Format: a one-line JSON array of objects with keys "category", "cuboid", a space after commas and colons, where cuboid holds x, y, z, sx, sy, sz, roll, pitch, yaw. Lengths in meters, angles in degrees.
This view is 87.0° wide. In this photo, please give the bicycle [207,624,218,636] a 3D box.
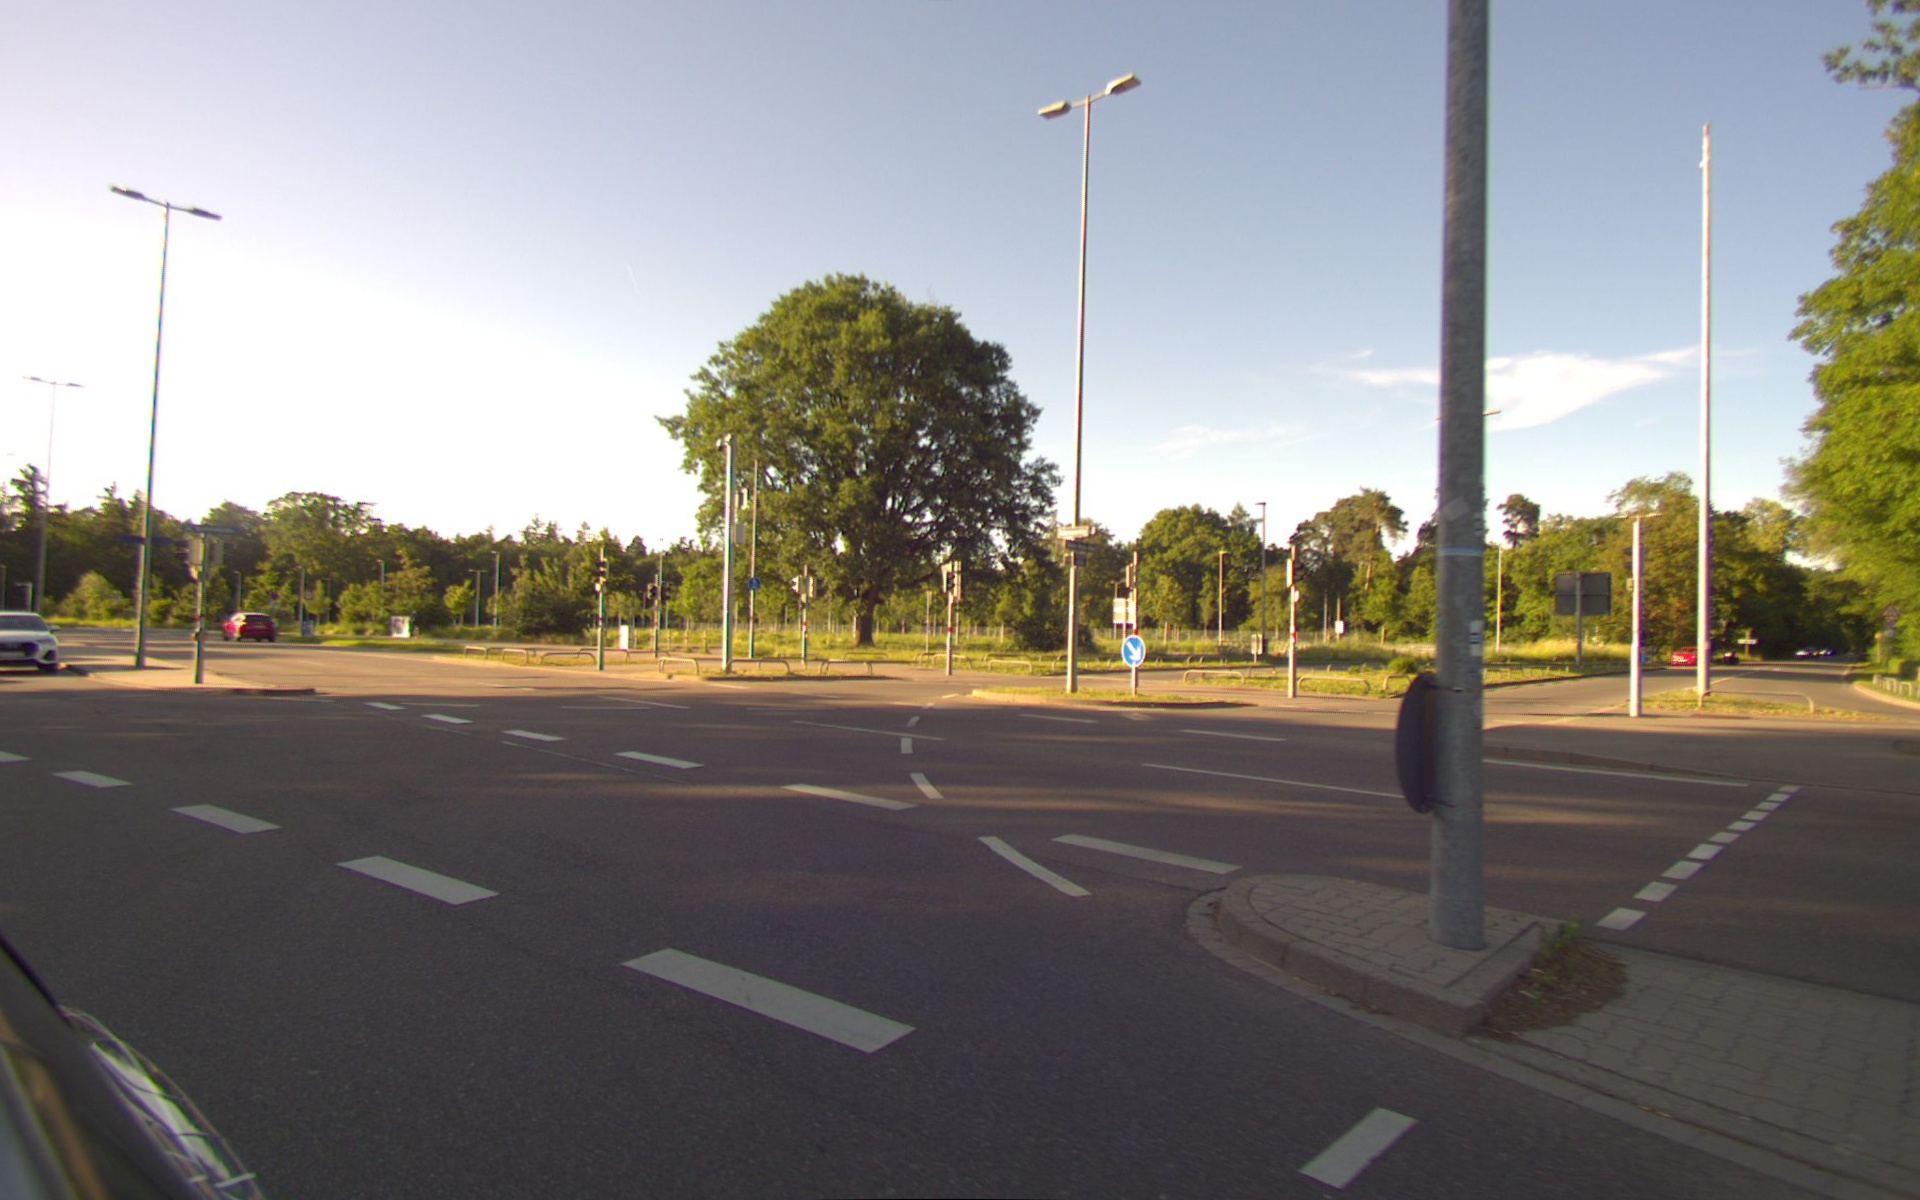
[{"category": "bicycle", "cuboid": [-65.780, 2.614, 89.043, 1.362, 1.027, 0.576, -1, -1, 44]}]

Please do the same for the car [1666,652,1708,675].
[{"category": "car", "cuboid": [53.404, 4.639, 74.353, 3.938, 1.521, 1.659, 1, -1, -41]}]

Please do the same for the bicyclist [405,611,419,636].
[{"category": "bicyclist", "cuboid": [-35.400, 1.522, 65.361, 0.672, 1.623, 0.801, 1, -1, -39]}]

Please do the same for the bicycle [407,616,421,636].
[{"category": "bicycle", "cuboid": [-35.340, 1.692, 65.493, 0.487, 1.247, 1.798, 1, -1, -40]}]

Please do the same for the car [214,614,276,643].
[{"category": "car", "cuboid": [-40.401, 1.560, 57.173, 4.571, 1.565, 1.866, 0, -1, 41]}]

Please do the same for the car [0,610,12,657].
[{"category": "car", "cuboid": [-34.292, 1.137, 35.062, 4.320, 1.595, 1.773, -1, -2, 42]}]

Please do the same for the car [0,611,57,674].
[{"category": "car", "cuboid": [-24.553, 1.046, 25.882, 4.301, 1.524, 1.813, -1, -2, 44]}]

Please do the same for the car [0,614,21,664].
[{"category": "car", "cuboid": [-29.388, 1.131, 30.257, 4.319, 1.438, 1.639, -1, -2, 44]}]

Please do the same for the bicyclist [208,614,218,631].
[{"category": "bicyclist", "cuboid": [-65.697, 1.984, 88.950, 0.585, 1.424, 0.800, 1, -1, -45]}]
